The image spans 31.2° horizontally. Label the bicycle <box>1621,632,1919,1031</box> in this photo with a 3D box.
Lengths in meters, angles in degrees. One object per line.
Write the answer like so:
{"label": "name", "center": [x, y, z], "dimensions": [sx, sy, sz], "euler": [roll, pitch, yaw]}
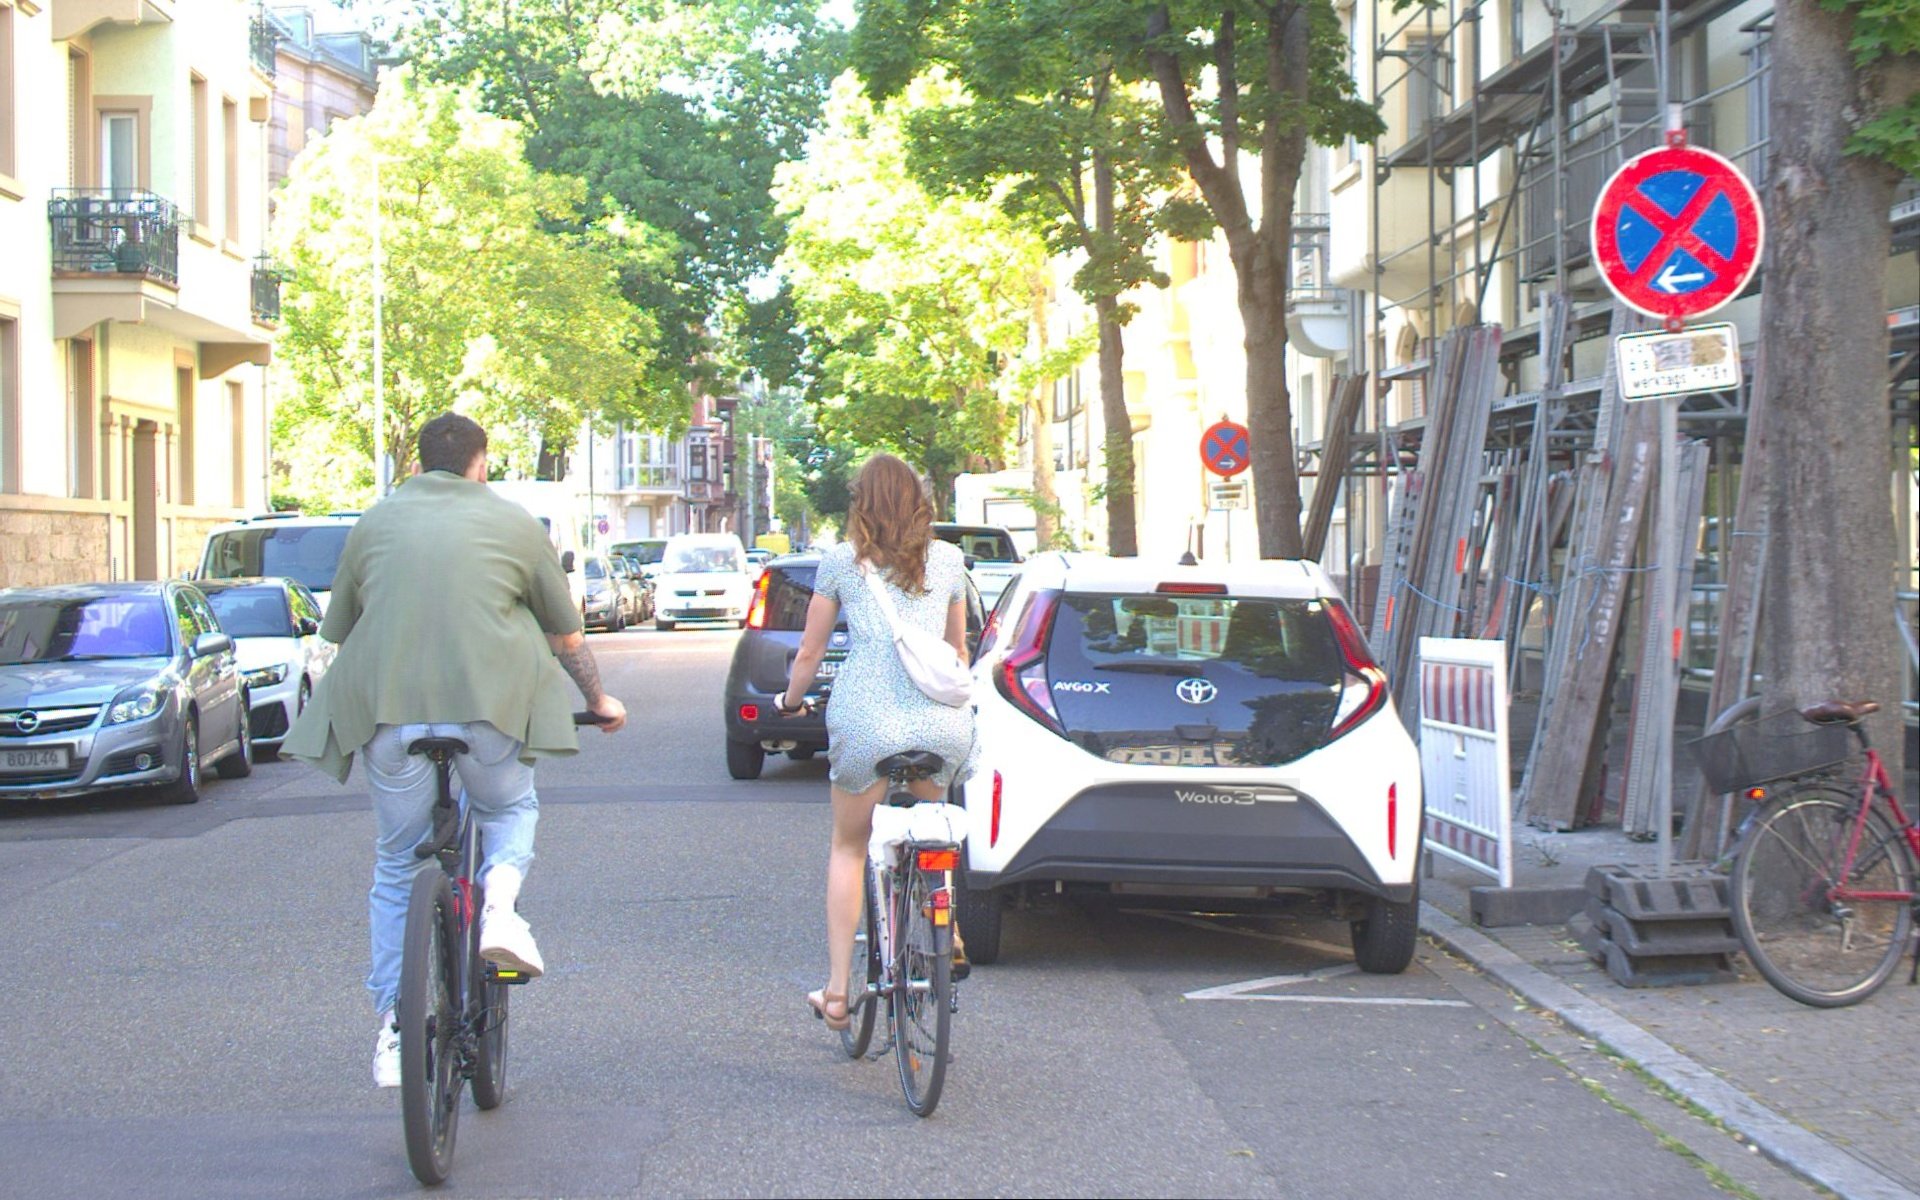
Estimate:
{"label": "bicycle", "center": [3.272, 0.705, 11.398], "dimensions": [1.979, 1.161, 0.727], "euler": [-4, 2, -19]}

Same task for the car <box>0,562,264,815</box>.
{"label": "car", "center": [-5.837, 0.528, 22.607], "dimensions": [1.978, 1.450, 4.114], "euler": [-3, 1, -5]}

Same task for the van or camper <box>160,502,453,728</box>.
{"label": "van or camper", "center": [-6.279, 0.096, 33.608], "dimensions": [1.993, 2.007, 4.912], "euler": [-1, 1, -1]}

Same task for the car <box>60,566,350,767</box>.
{"label": "car", "center": [-5.979, 0.476, 27.586], "dimensions": [1.686, 1.448, 3.711], "euler": [-1, 1, -3]}

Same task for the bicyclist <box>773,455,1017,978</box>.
{"label": "bicyclist", "center": [-0.181, 0.332, 9.560], "dimensions": [0.623, 1.376, 0.868], "euler": [-1, -4, -1]}

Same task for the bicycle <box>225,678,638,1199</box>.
{"label": "bicycle", "center": [-1.270, 0.802, 8.704], "dimensions": [0.839, 1.145, 2.233], "euler": [-1, 0, -4]}

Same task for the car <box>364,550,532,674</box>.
{"label": "car", "center": [-6.599, 0.117, 44.630], "dimensions": [1.710, 1.499, 4.001], "euler": [0, 1, -2]}

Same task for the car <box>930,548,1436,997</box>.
{"label": "car", "center": [0.769, 0.584, 13.751], "dimensions": [1.675, 1.540, 3.404], "euler": [1, 1, -2]}

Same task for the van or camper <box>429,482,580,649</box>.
{"label": "van or camper", "center": [-7.250, -0.574, 55.192], "dimensions": [1.993, 2.544, 5.024], "euler": [0, 1, -3]}

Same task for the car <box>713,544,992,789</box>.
{"label": "car", "center": [-0.669, 0.399, 23.594], "dimensions": [1.557, 1.527, 3.486], "euler": [-1, 1, 4]}

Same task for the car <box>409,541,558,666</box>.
{"label": "car", "center": [-6.763, 0.014, 49.098], "dimensions": [1.710, 1.693, 4.001], "euler": [0, 1, -2]}

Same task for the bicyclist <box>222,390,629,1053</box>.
{"label": "bicyclist", "center": [-1.310, 0.302, 8.582], "dimensions": [0.881, 1.556, 0.868], "euler": [-1, -2, -1]}

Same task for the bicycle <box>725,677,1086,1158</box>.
{"label": "bicycle", "center": [-0.212, 0.833, 9.828], "dimensions": [0.839, 1.145, 2.233], "euler": [2, 0, -5]}

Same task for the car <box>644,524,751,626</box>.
{"label": "car", "center": [-4.974, -0.489, 65.551], "dimensions": [1.782, 1.854, 4.199], "euler": [-1, 1, -1]}
